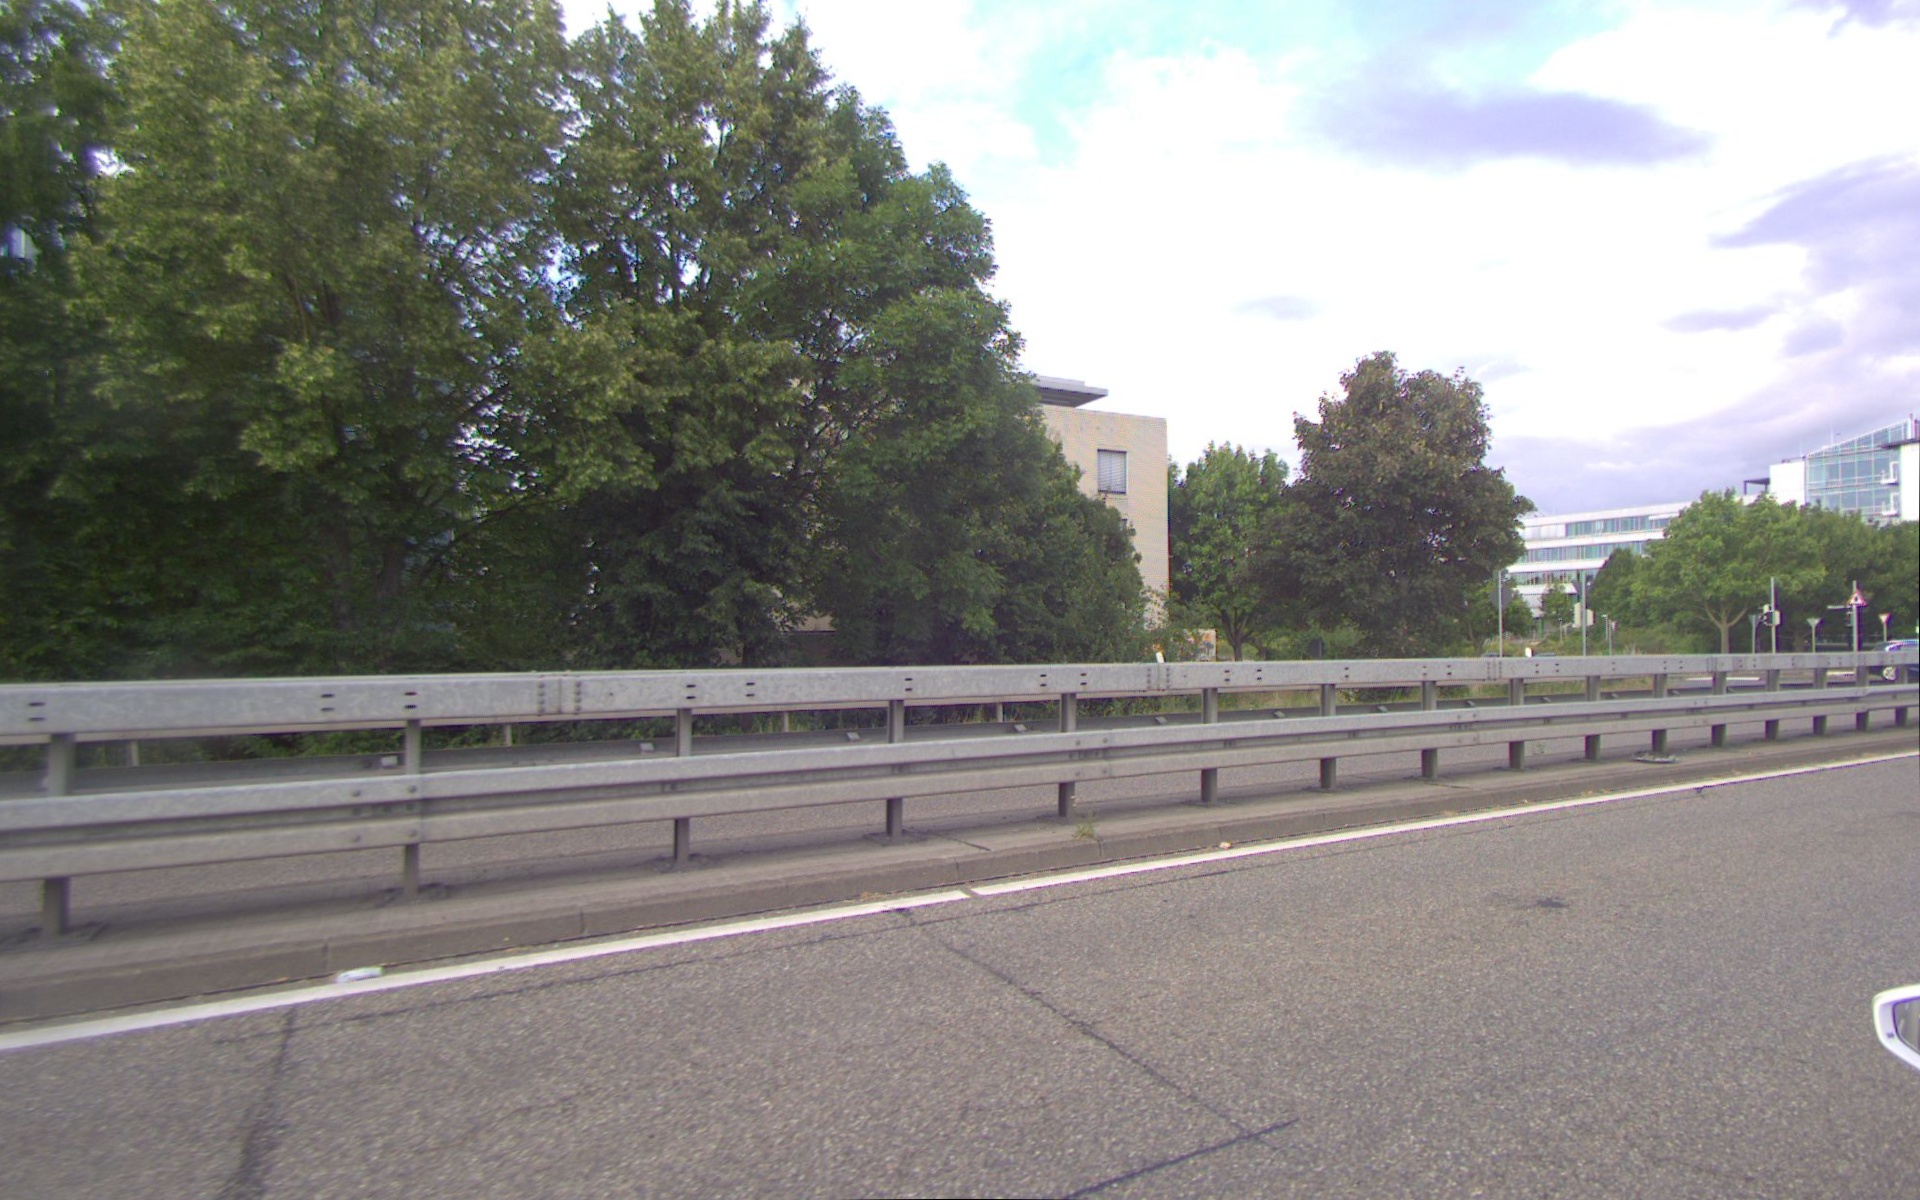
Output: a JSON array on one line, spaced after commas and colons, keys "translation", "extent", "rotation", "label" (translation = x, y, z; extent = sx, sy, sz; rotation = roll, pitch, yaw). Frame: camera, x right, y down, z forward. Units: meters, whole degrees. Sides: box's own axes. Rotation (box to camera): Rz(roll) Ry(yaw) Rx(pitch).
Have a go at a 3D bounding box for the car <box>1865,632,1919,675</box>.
[{"translation": [36.861, 2.062, 37.848], "extent": [1.872, 1.572, 3.949], "rotation": [2, 0, -43], "label": "car"}]
